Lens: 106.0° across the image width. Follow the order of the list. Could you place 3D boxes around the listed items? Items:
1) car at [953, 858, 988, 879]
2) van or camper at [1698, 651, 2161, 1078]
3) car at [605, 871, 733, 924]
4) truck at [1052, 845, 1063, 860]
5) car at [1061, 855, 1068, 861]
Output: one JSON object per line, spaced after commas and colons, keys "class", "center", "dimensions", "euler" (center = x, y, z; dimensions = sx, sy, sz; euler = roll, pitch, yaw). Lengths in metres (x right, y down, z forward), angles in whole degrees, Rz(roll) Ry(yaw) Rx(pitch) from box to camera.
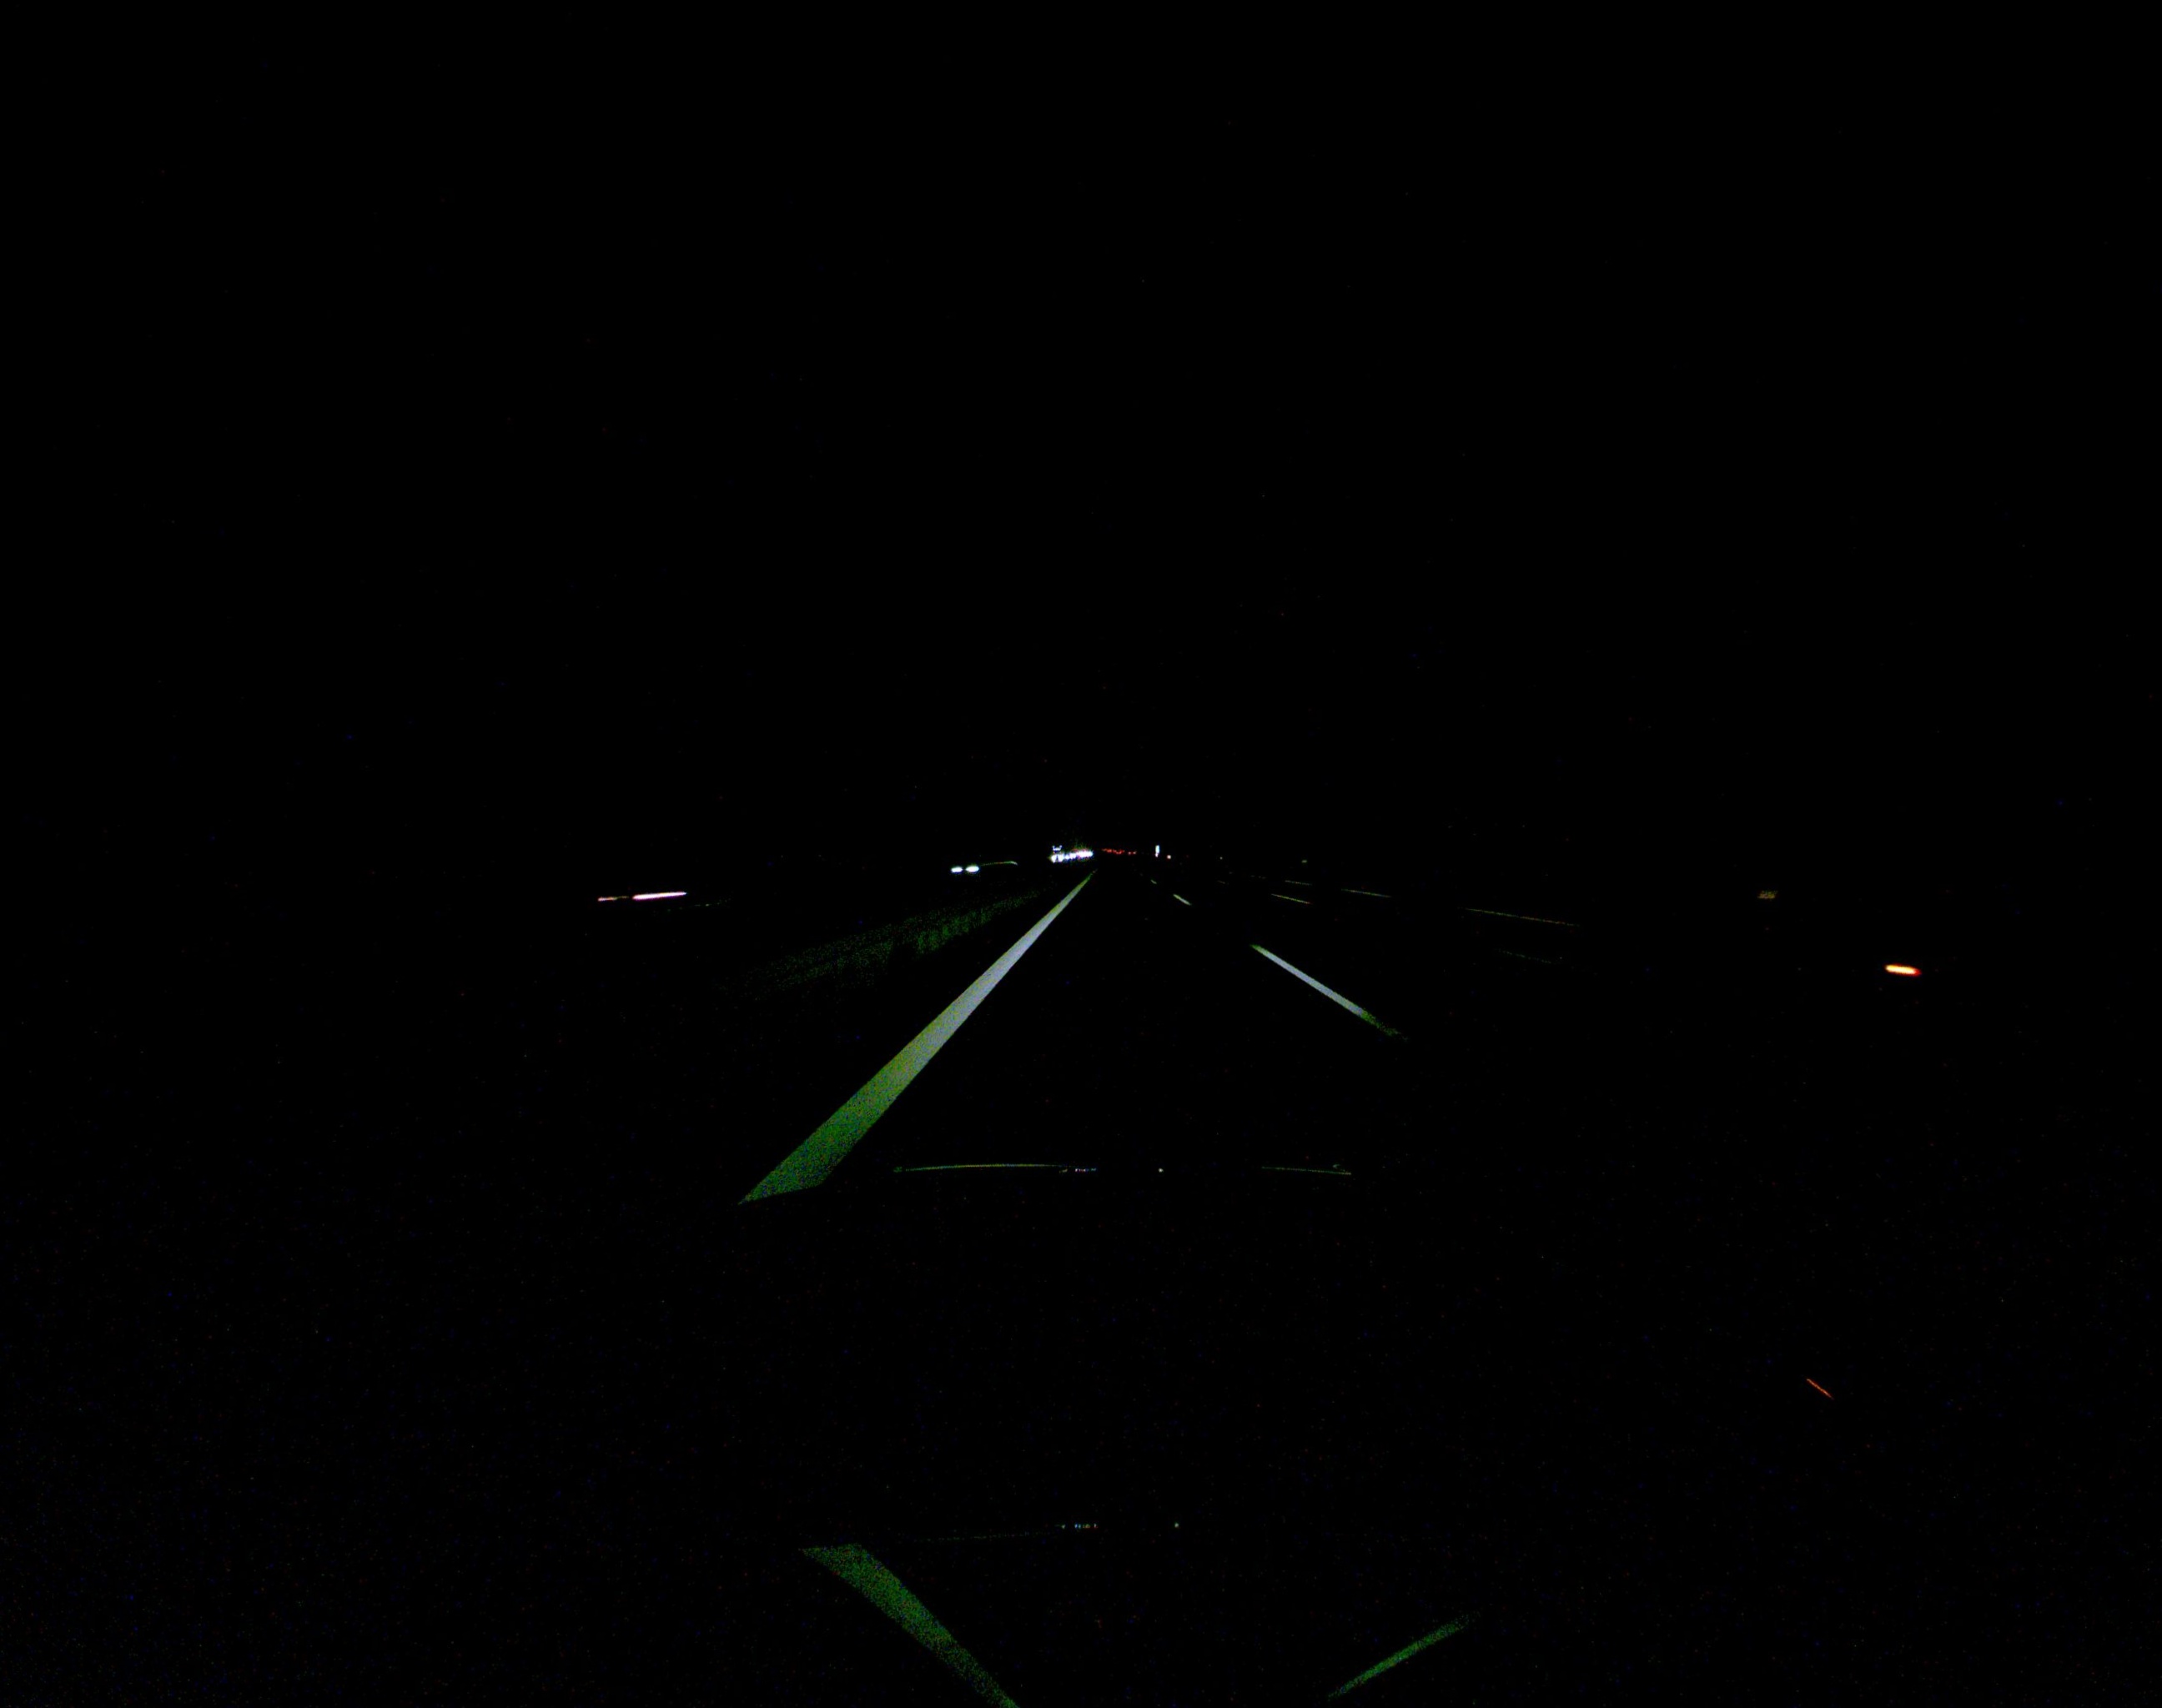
{"class": "car", "center": [-9.346, 1.228, 69.105], "dimensions": [1.986, 1.551, 5.006], "euler": [-5, 0, 2]}
{"class": "van or camper", "center": [8.147, 0.061, 6.023], "dimensions": [2.199, 2.771, 6.807], "euler": [0, 0, 2]}
{"class": "car", "center": [-15.096, 1.523, 30.223], "dimensions": [1.986, 1.551, 5.006], "euler": [-5, 0, 2]}
{"class": "truck", "center": [-6.975, -0.403, 245.137], "dimensions": [2.744, 4.212, 5.828], "euler": [-3, 0, 1]}
{"class": "car", "center": [-4.495, 1.165, 223.112], "dimensions": [1.987, 1.461, 4.690], "euler": [-3, 0, -1]}
